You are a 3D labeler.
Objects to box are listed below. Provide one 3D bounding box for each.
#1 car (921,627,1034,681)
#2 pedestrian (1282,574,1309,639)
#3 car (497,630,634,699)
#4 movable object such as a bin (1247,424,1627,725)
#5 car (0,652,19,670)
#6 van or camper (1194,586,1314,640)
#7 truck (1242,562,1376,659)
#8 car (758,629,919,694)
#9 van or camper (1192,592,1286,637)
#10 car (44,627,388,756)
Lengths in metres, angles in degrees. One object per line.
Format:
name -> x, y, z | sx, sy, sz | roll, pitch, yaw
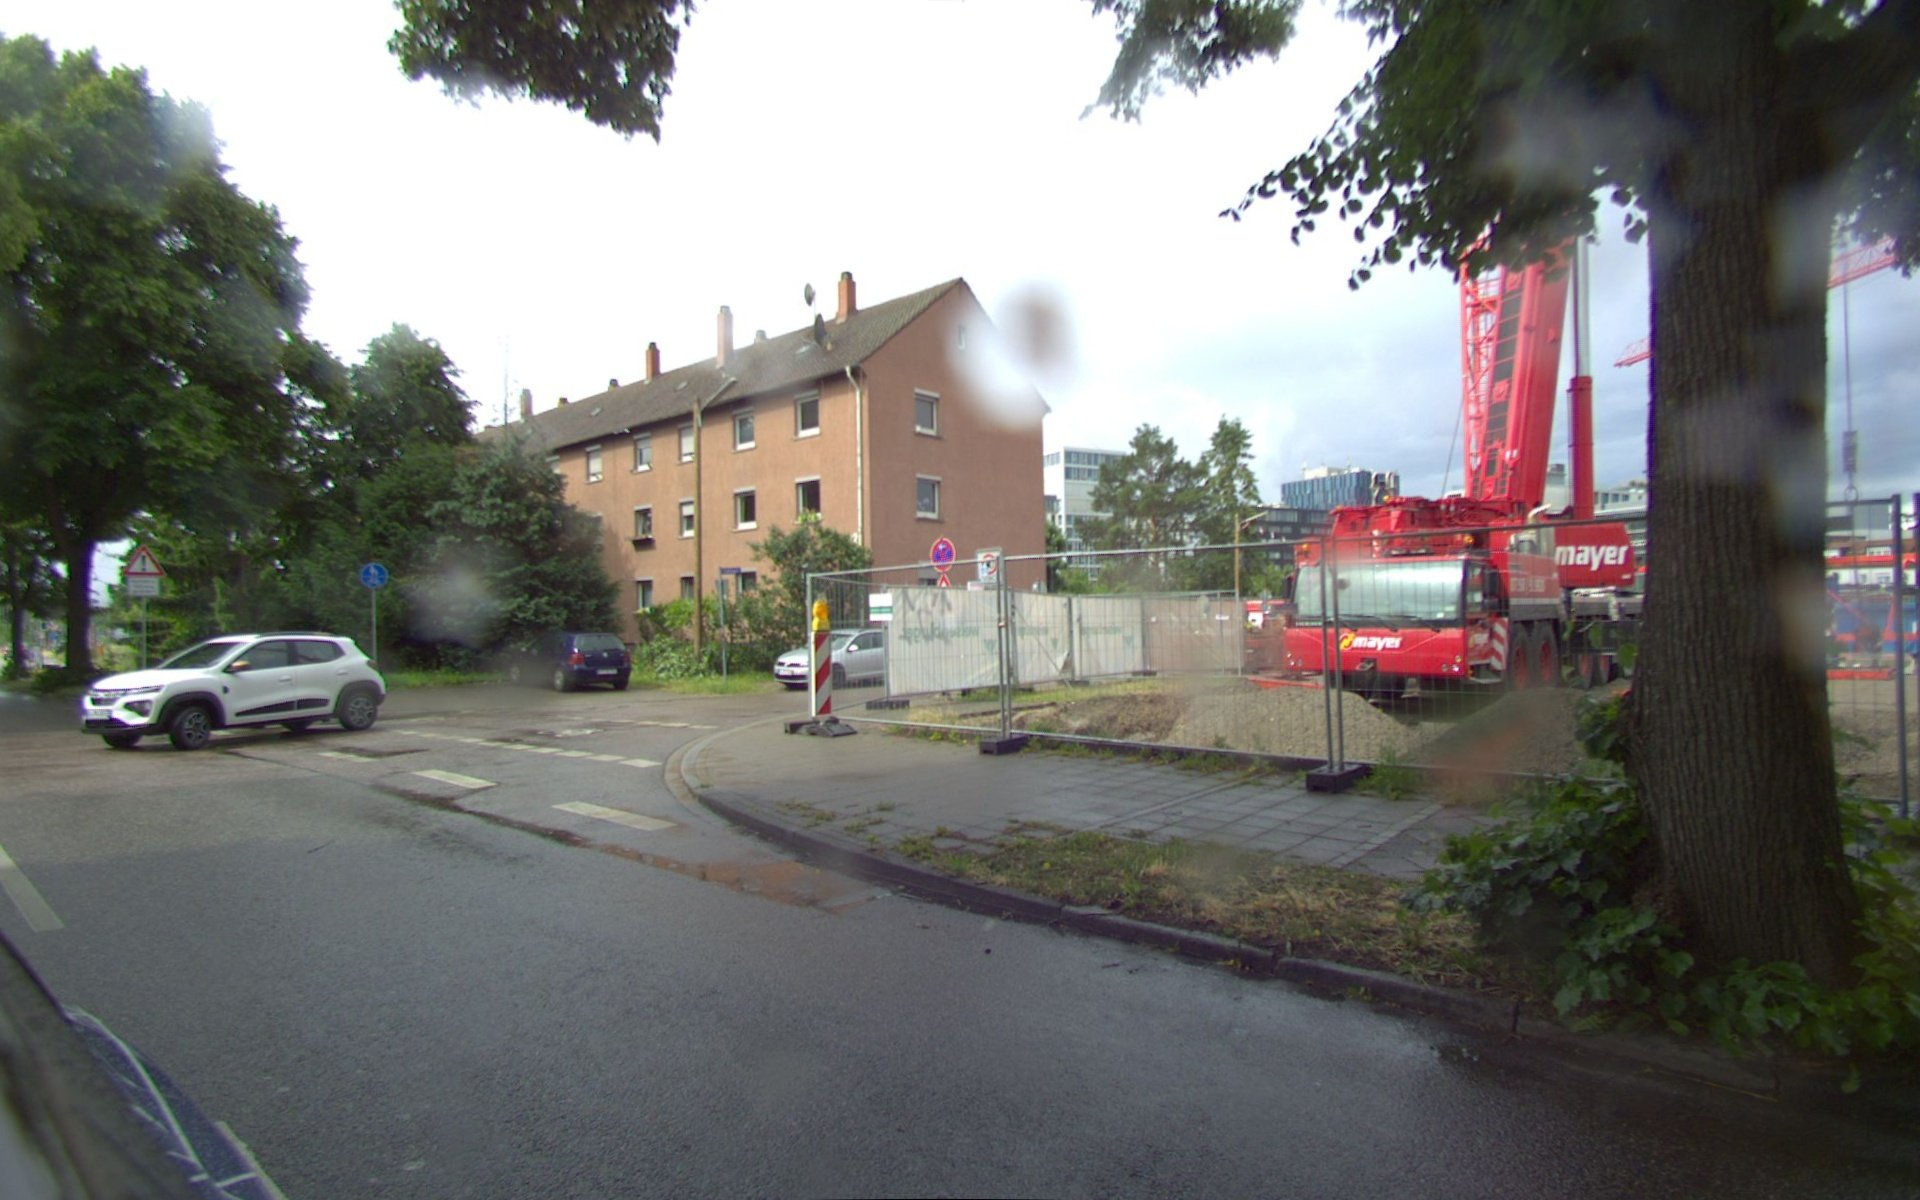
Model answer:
car -> 0.596, 1.555, 29.836 | 1.719, 1.424, 4.029 | -2, -2, 27
pedestrian -> 10.595, 0.222, 31.942 | 0.685, 2.029, 0.487 | -2, -4, 34
car -> -9.792, 1.531, 24.984 | 3.870, 1.431, 1.606 | 0, 1, 42
movable object such as a bin -> 9.228, -0.318, 18.646 | 3.366, 4.147, 9.704 | -3, -2, 43
car -> -85.664, 5.487, 90.808 | 3.794, 1.519, 1.661 | -3, -3, 44
van or camper -> 14.873, 0.721, 51.426 | 5.570, 2.530, 1.926 | -2, -4, 36
truck -> 12.908, 0.264, 37.063 | 2.347, 3.218, 6.928 | -1, 1, 39
car -> -3.032, 1.516, 25.920 | 1.726, 1.484, 4.013 | -2, -2, 39
van or camper -> 13.322, 0.730, 48.353 | 3.986, 2.029, 1.928 | -1, -4, 32
car -> -10.388, 1.187, 14.425 | 1.728, 1.545, 3.586 | -2, -2, 25
